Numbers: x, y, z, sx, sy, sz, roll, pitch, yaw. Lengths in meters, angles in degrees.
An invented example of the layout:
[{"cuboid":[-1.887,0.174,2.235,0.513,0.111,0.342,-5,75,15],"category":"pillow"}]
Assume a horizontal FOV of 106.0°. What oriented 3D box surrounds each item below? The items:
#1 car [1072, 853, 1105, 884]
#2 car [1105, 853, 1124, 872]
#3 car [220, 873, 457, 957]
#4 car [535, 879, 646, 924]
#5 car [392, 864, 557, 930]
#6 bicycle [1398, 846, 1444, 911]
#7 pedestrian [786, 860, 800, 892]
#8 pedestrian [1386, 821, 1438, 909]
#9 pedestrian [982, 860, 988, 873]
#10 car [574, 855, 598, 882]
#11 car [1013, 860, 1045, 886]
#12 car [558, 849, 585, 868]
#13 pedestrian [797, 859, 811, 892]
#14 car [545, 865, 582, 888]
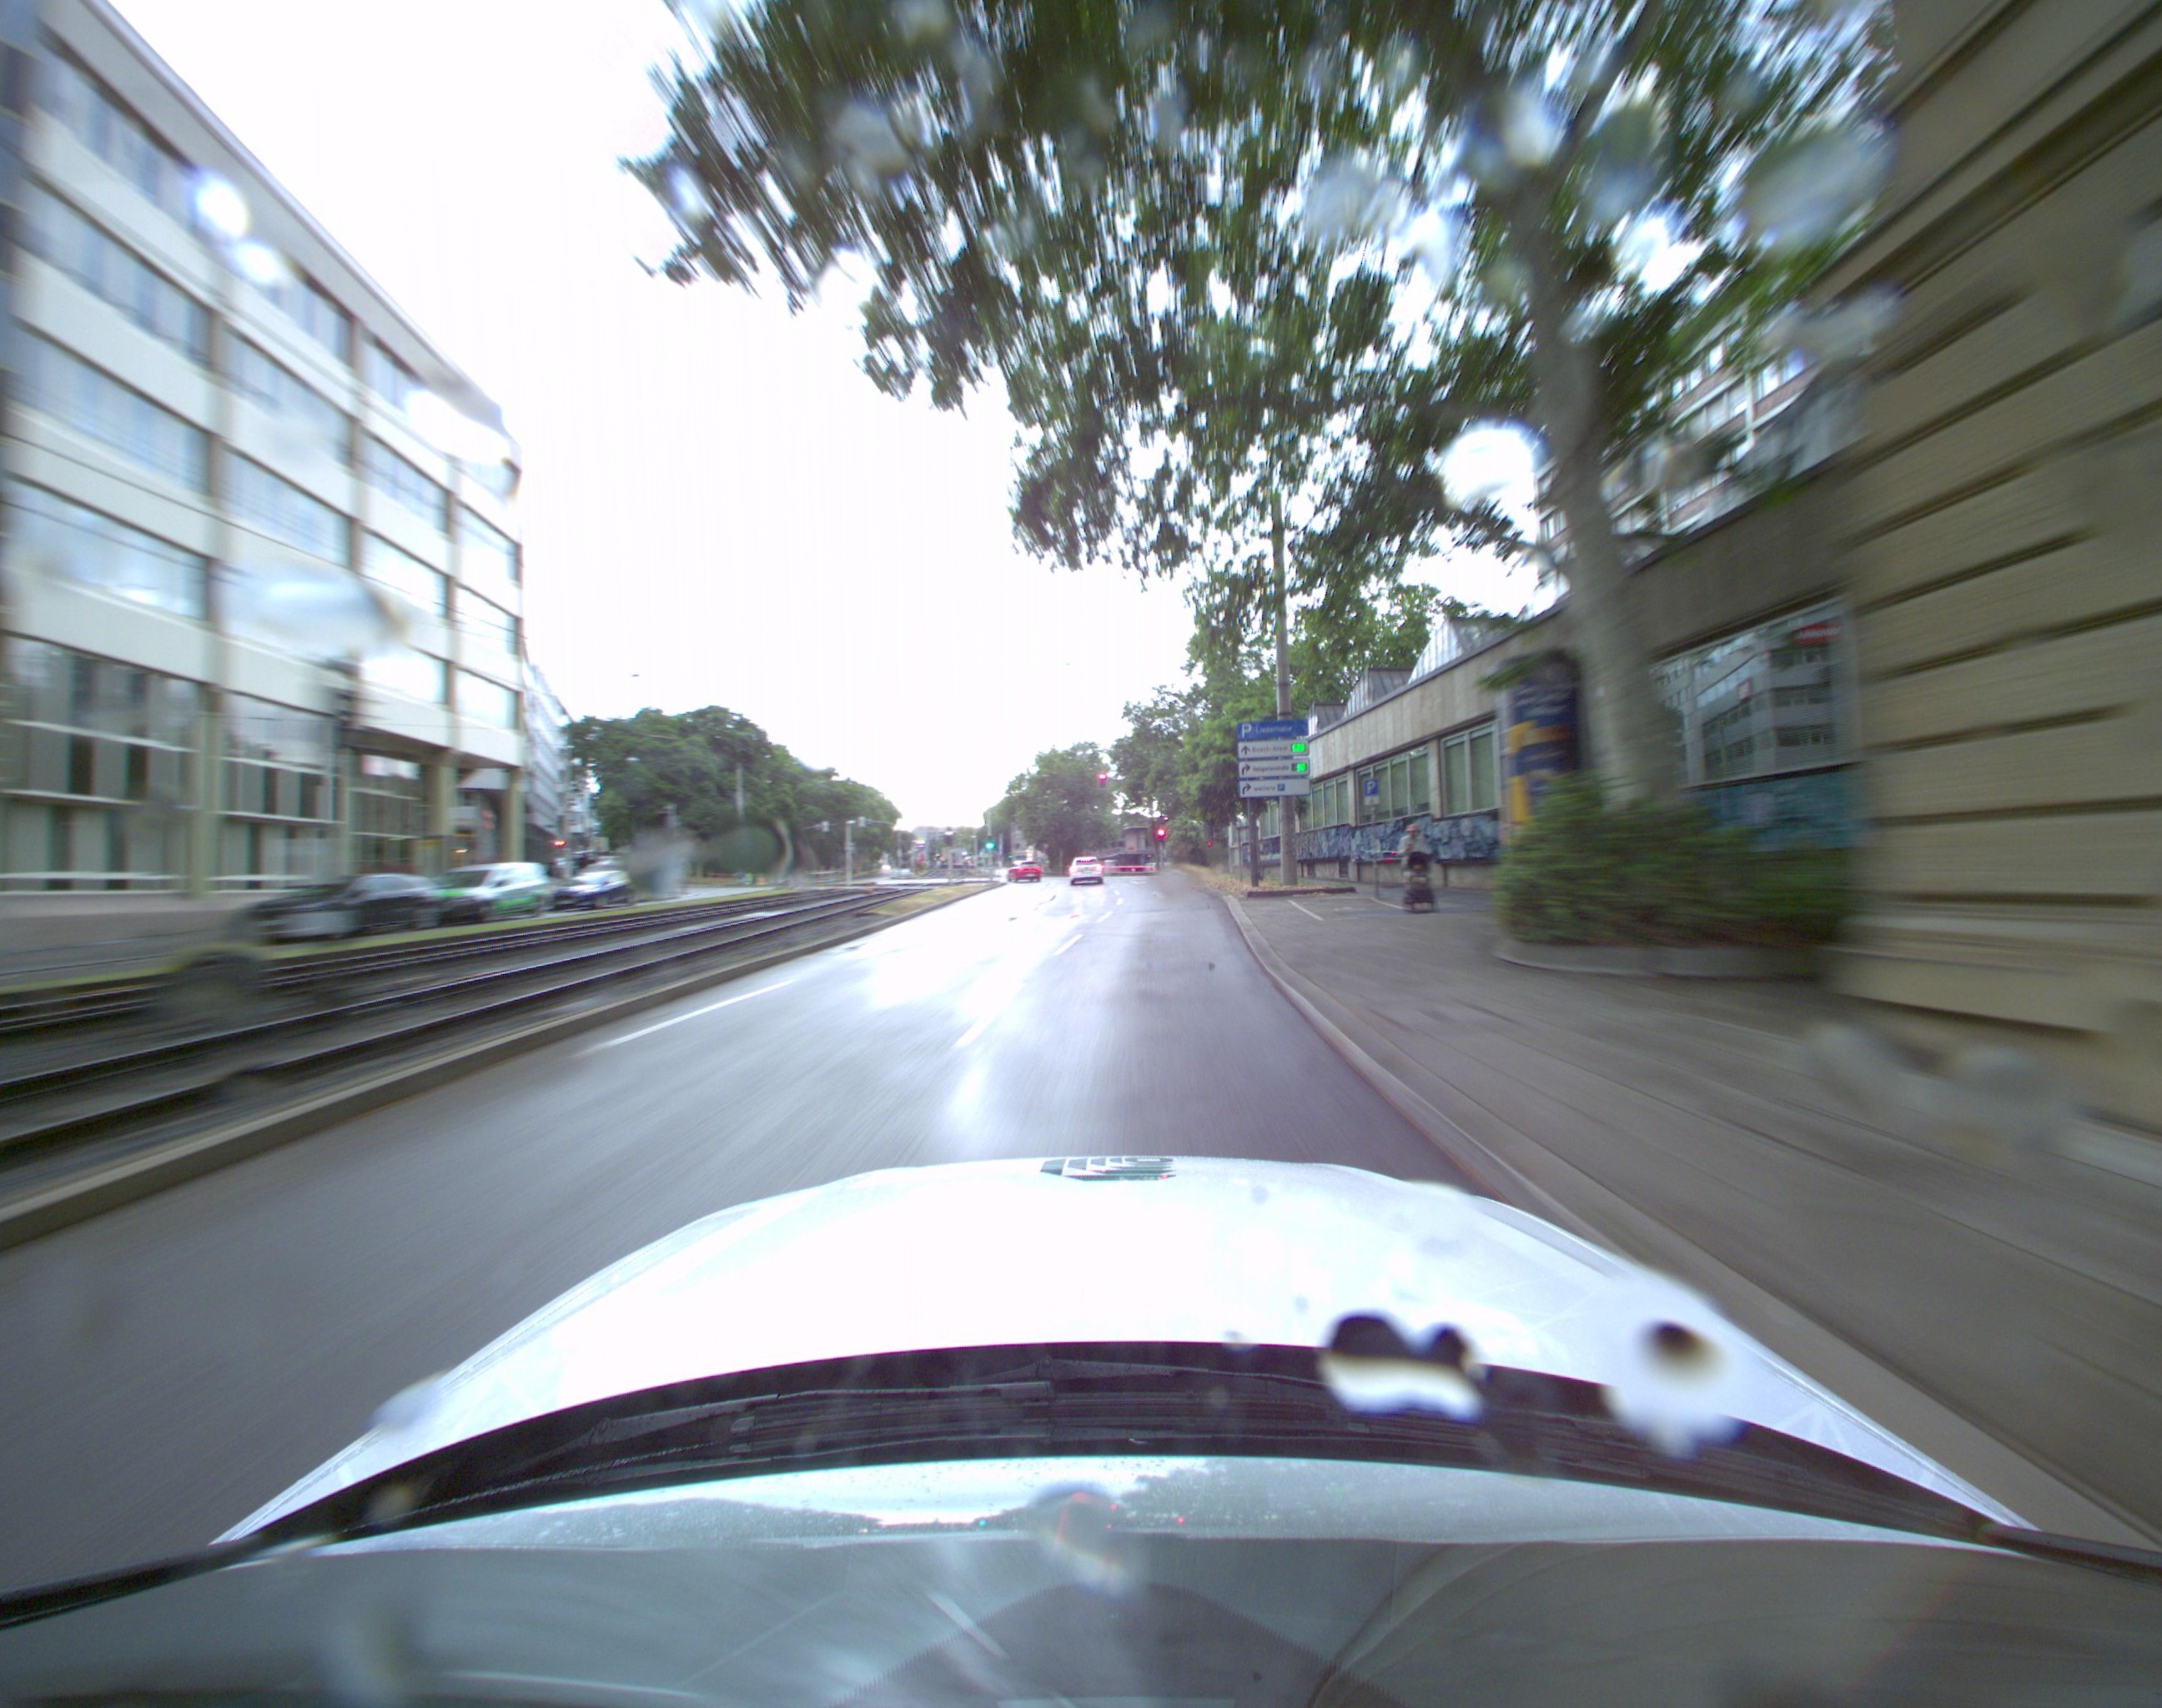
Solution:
[{"cuboid":[0.428,0.751,44.386,1.673,1.576,4.253,-2,0,1],"category":"car"},{"cuboid":[5.514,1.392,135.088,2.540,3.134,5.022,0,-1,-4],"category":"car"},{"cuboid":[-18.269,1.405,20.429,1.992,1.850,4.683,0,-1,-7],"category":"car"},{"cuboid":[-19.090,1.799,31.956,1.992,1.582,4.538,0,-1,-7],"category":"car"},{"cuboid":[-18.578,1.248,25.291,1.992,1.850,4.683,0,-1,-7],"category":"car"},{"cuboid":[6.713,0.470,16.131,0.615,1.220,0.913,-3,0,12],"category":"bicycle"},{"cuboid":[-16.063,1.222,45.399,0.641,1.788,0.804,1,-2,-23],"category":"pedestrian"},{"cuboid":[6.926,0.213,17.103,0.713,1.742,1.022,-4,0,11],"category":"pedestrian"},{"cuboid":[-12.627,1.610,106.778,0.738,1.640,0.868,0,-2,-10],"category":"pedestrian"},{"cuboid":[-56.952,1.682,93.777,2.005,2.998,4.172,1,-2,-27],"category":"car"},{"cuboid":[-3.437,1.266,54.468,1.975,1.640,4.413,0,-1,-2],"category":"car"},{"cuboid":[-50.839,0.481,81.330,2.005,1.794,4.170,1,-2,-29],"category":"car"},{"cuboid":[-15.196,1.173,44.648,0.641,1.788,0.804,1,-2,-23],"category":"pedestrian"},{"cuboid":[-42.208,1.852,66.371,2.010,1.794,3.953,1,-2,-40],"category":"car"}]
